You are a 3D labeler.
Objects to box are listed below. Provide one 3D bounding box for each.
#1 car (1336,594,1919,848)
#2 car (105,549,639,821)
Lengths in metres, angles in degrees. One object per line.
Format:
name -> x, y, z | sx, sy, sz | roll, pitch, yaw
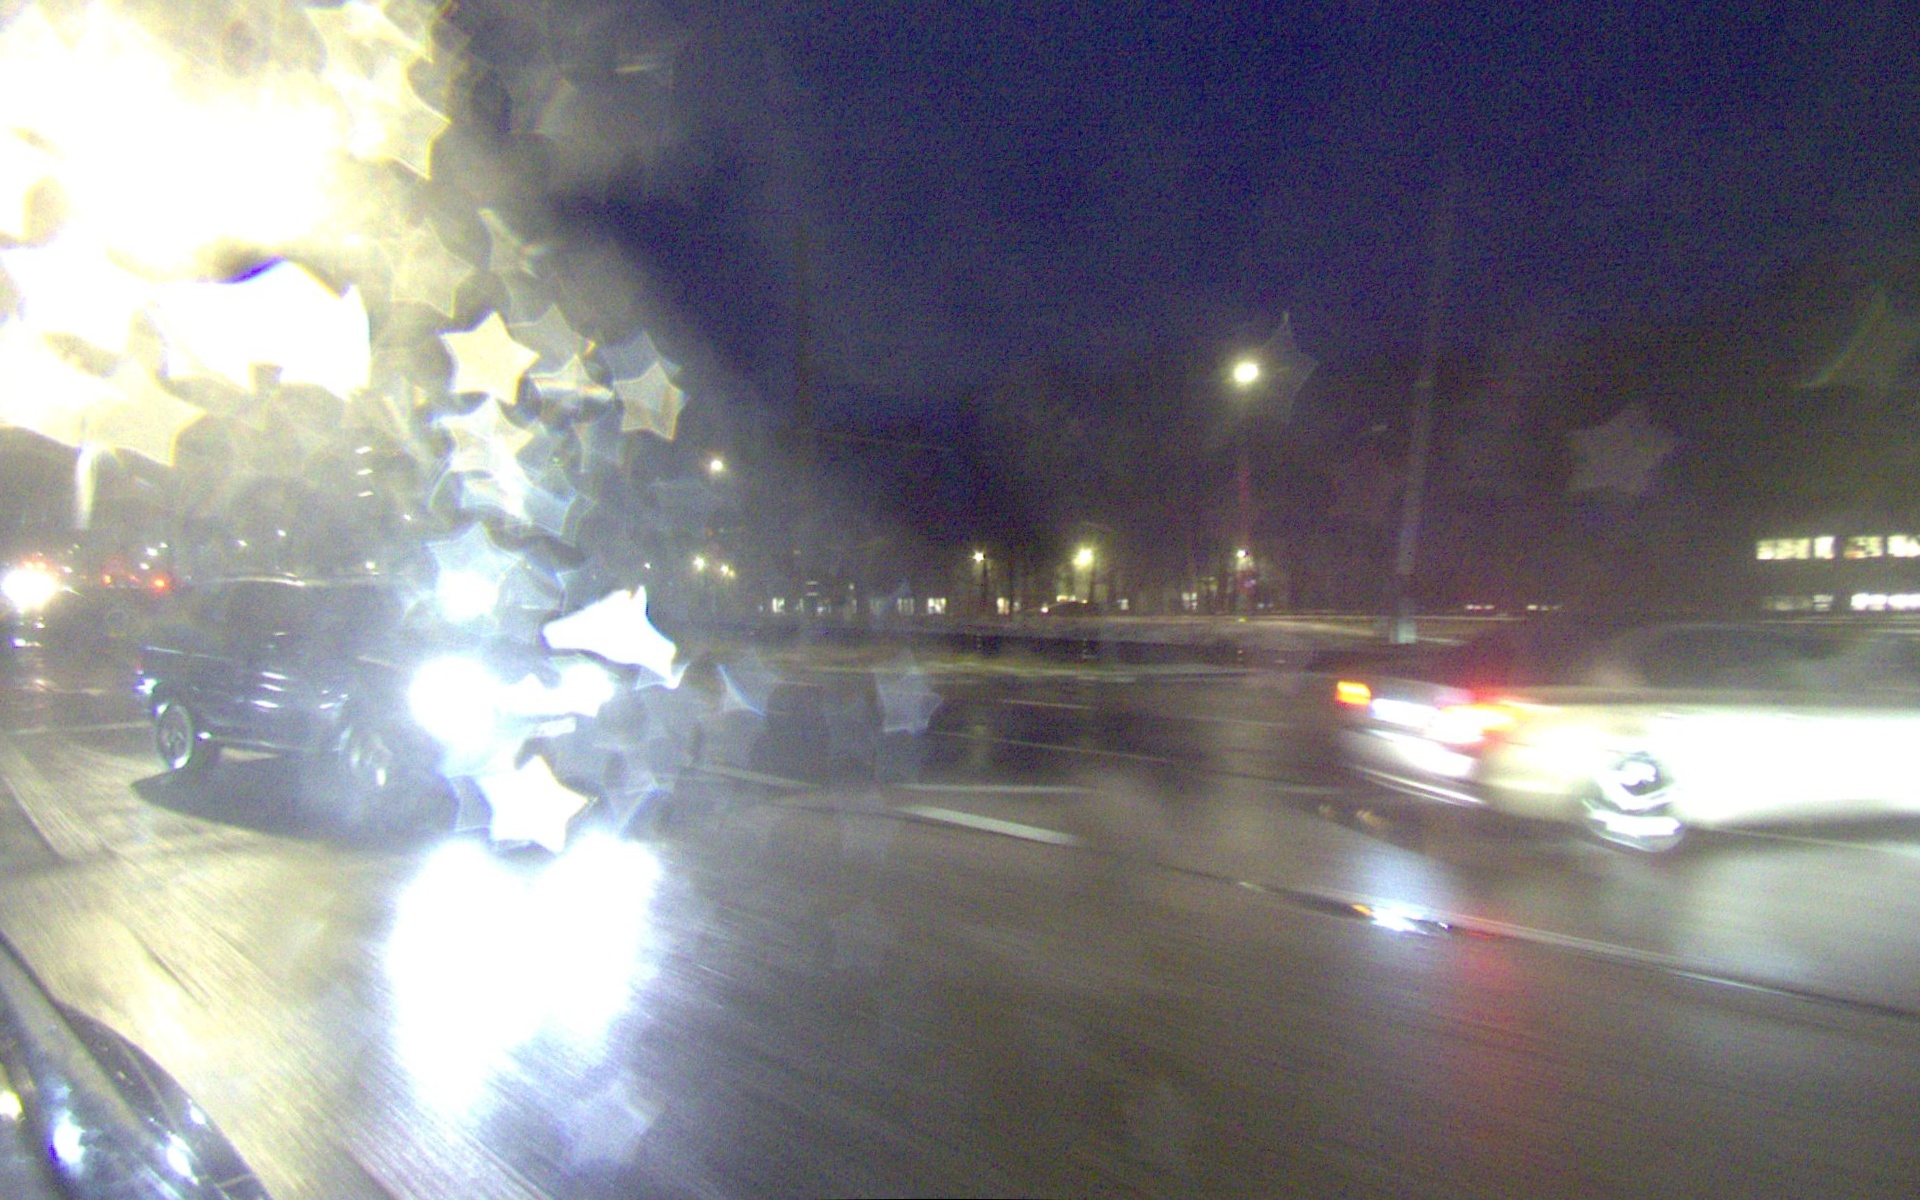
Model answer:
car -> 5.068, 0.674, 6.903 | 4.431, 1.375, 1.670 | -1, 0, -10
car -> -5.191, 0.588, 8.852 | 4.503, 1.857, 1.981 | 0, 0, 28
